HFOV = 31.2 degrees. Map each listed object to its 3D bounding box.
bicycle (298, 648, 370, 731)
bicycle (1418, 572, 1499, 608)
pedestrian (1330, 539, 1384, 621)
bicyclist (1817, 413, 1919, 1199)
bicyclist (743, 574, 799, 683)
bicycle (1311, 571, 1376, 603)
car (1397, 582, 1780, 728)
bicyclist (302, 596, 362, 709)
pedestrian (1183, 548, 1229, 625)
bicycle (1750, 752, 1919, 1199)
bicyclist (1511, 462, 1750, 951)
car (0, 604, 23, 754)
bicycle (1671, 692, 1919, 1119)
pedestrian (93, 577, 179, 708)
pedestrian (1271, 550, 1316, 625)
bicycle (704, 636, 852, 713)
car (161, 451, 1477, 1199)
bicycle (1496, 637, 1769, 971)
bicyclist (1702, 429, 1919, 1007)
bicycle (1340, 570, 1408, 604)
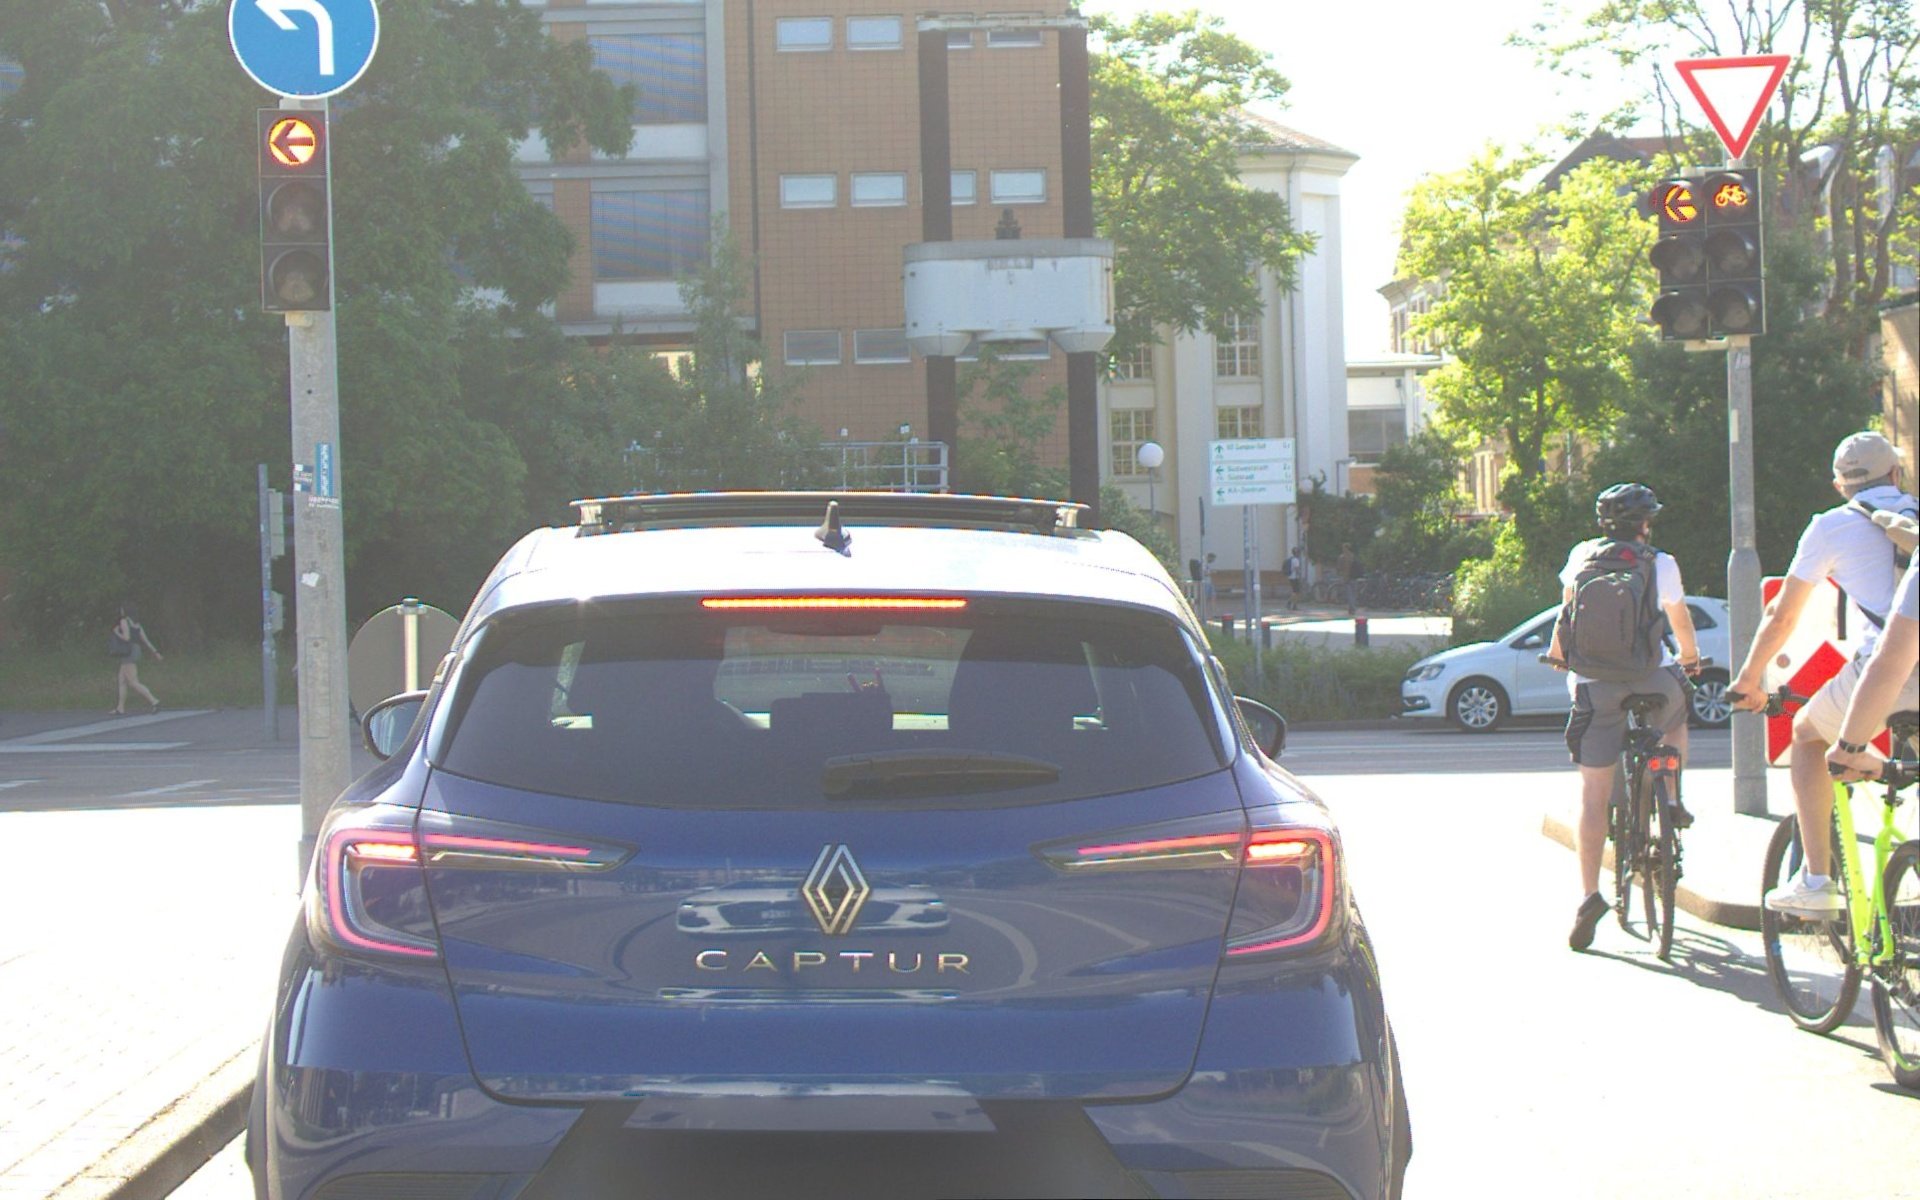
[{"bbox_3d":[-7.987,1.156,43.832,0.698,1.004,1.868,-2,-2,-16],"label":"bicycle"},{"bbox_3d":[12.043,-0.239,83.048,1.770,0.820,0.766,-1,1,-10],"label":"bicycle"},{"bbox_3d":[9.888,-0.496,85.651,1.156,2.007,1.164,-1,1,0],"label":"pedestrian"},{"bbox_3d":[2.298,0.448,7.196,0.740,1.668,0.866,-1,1,-2],"label":"bicyclist"},{"bbox_3d":[-2.498,0.370,45.443,0.636,1.407,0.649,-1,1,4],"label":"bicyclist"},{"bbox_3d":[11.076,-0.384,99.214,1.771,0.890,0.765,-1,1,0],"label":"bicycle"},{"bbox_3d":[6.797,0.605,37.192,3.956,1.486,1.810,-1,-1,12],"label":"car"},{"bbox_3d":[-8.020,0.673,43.898,0.647,1.407,0.639,-1,-2,-16],"label":"bicyclist"},{"bbox_3d":[6.599,-0.367,92.114,1.151,2.007,0.951,-1,1,6],"label":"pedestrian"},{"bbox_3d":[2.305,0.900,7.293,0.747,1.047,1.903,-1,1,-2],"label":"bicycle"},{"bbox_3d":[2.523,0.386,13.020,0.676,1.779,0.940,1,0,-2],"label":"bicyclist"},{"bbox_3d":[-12.689,0.896,36.525,4.865,1.588,1.938,-1,1,7],"label":"car"},{"bbox_3d":[2.621,0.831,9.968,0.671,1.047,1.844,1,1,-2],"label":"bicycle"},{"bbox_3d":[-11.868,0.607,49.539,0.932,1.849,0.807,-1,1,9],"label":"pedestrian"},{"bbox_3d":[9.089,-0.350,93.616,1.151,2.007,0.951,-1,1,6],"label":"pedestrian"},{"bbox_3d":[-2.398,0.983,45.459,1.865,0.955,0.623,-1,1,5],"label":"bicycle"},{"bbox_3d":[-0.244,0.592,6.639,1.794,1.649,3.853,0,1,-2],"label":"car"},{"bbox_3d":[2.522,0.732,13.081,0.615,1.134,1.826,0,1,-2],"label":"bicycle"},{"bbox_3d":[2.625,0.319,9.949,0.674,1.577,1.081,1,1,-1],"label":"bicyclist"},{"bbox_3d":[11.414,-0.353,94.849,1.771,0.895,0.765,-1,1,0],"label":"bicycle"}]
